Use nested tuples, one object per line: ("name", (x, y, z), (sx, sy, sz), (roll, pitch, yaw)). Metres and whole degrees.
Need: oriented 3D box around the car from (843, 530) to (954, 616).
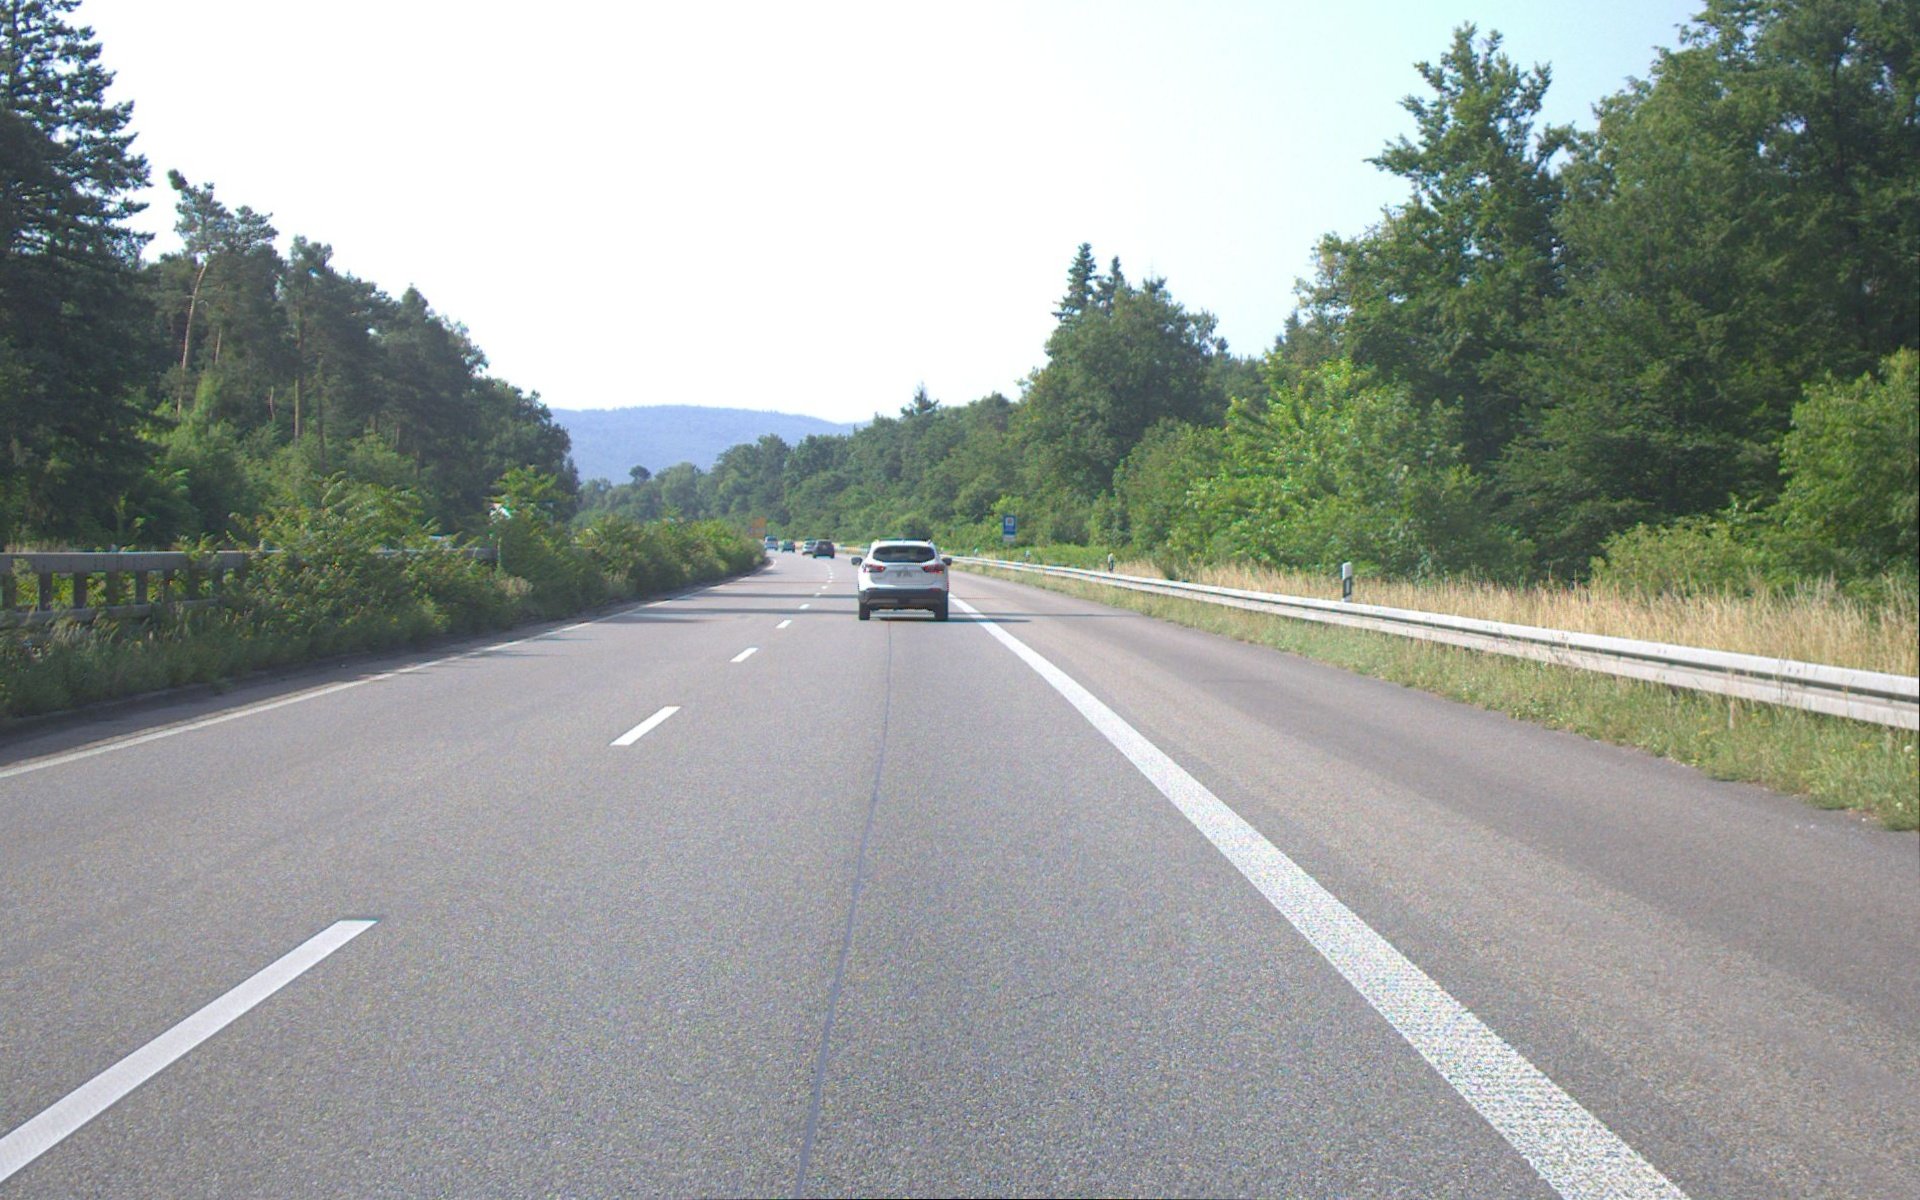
("car", (-1.261, -0.569, 68.954), (1.873, 1.581, 4.001), (2, 1, -5))
